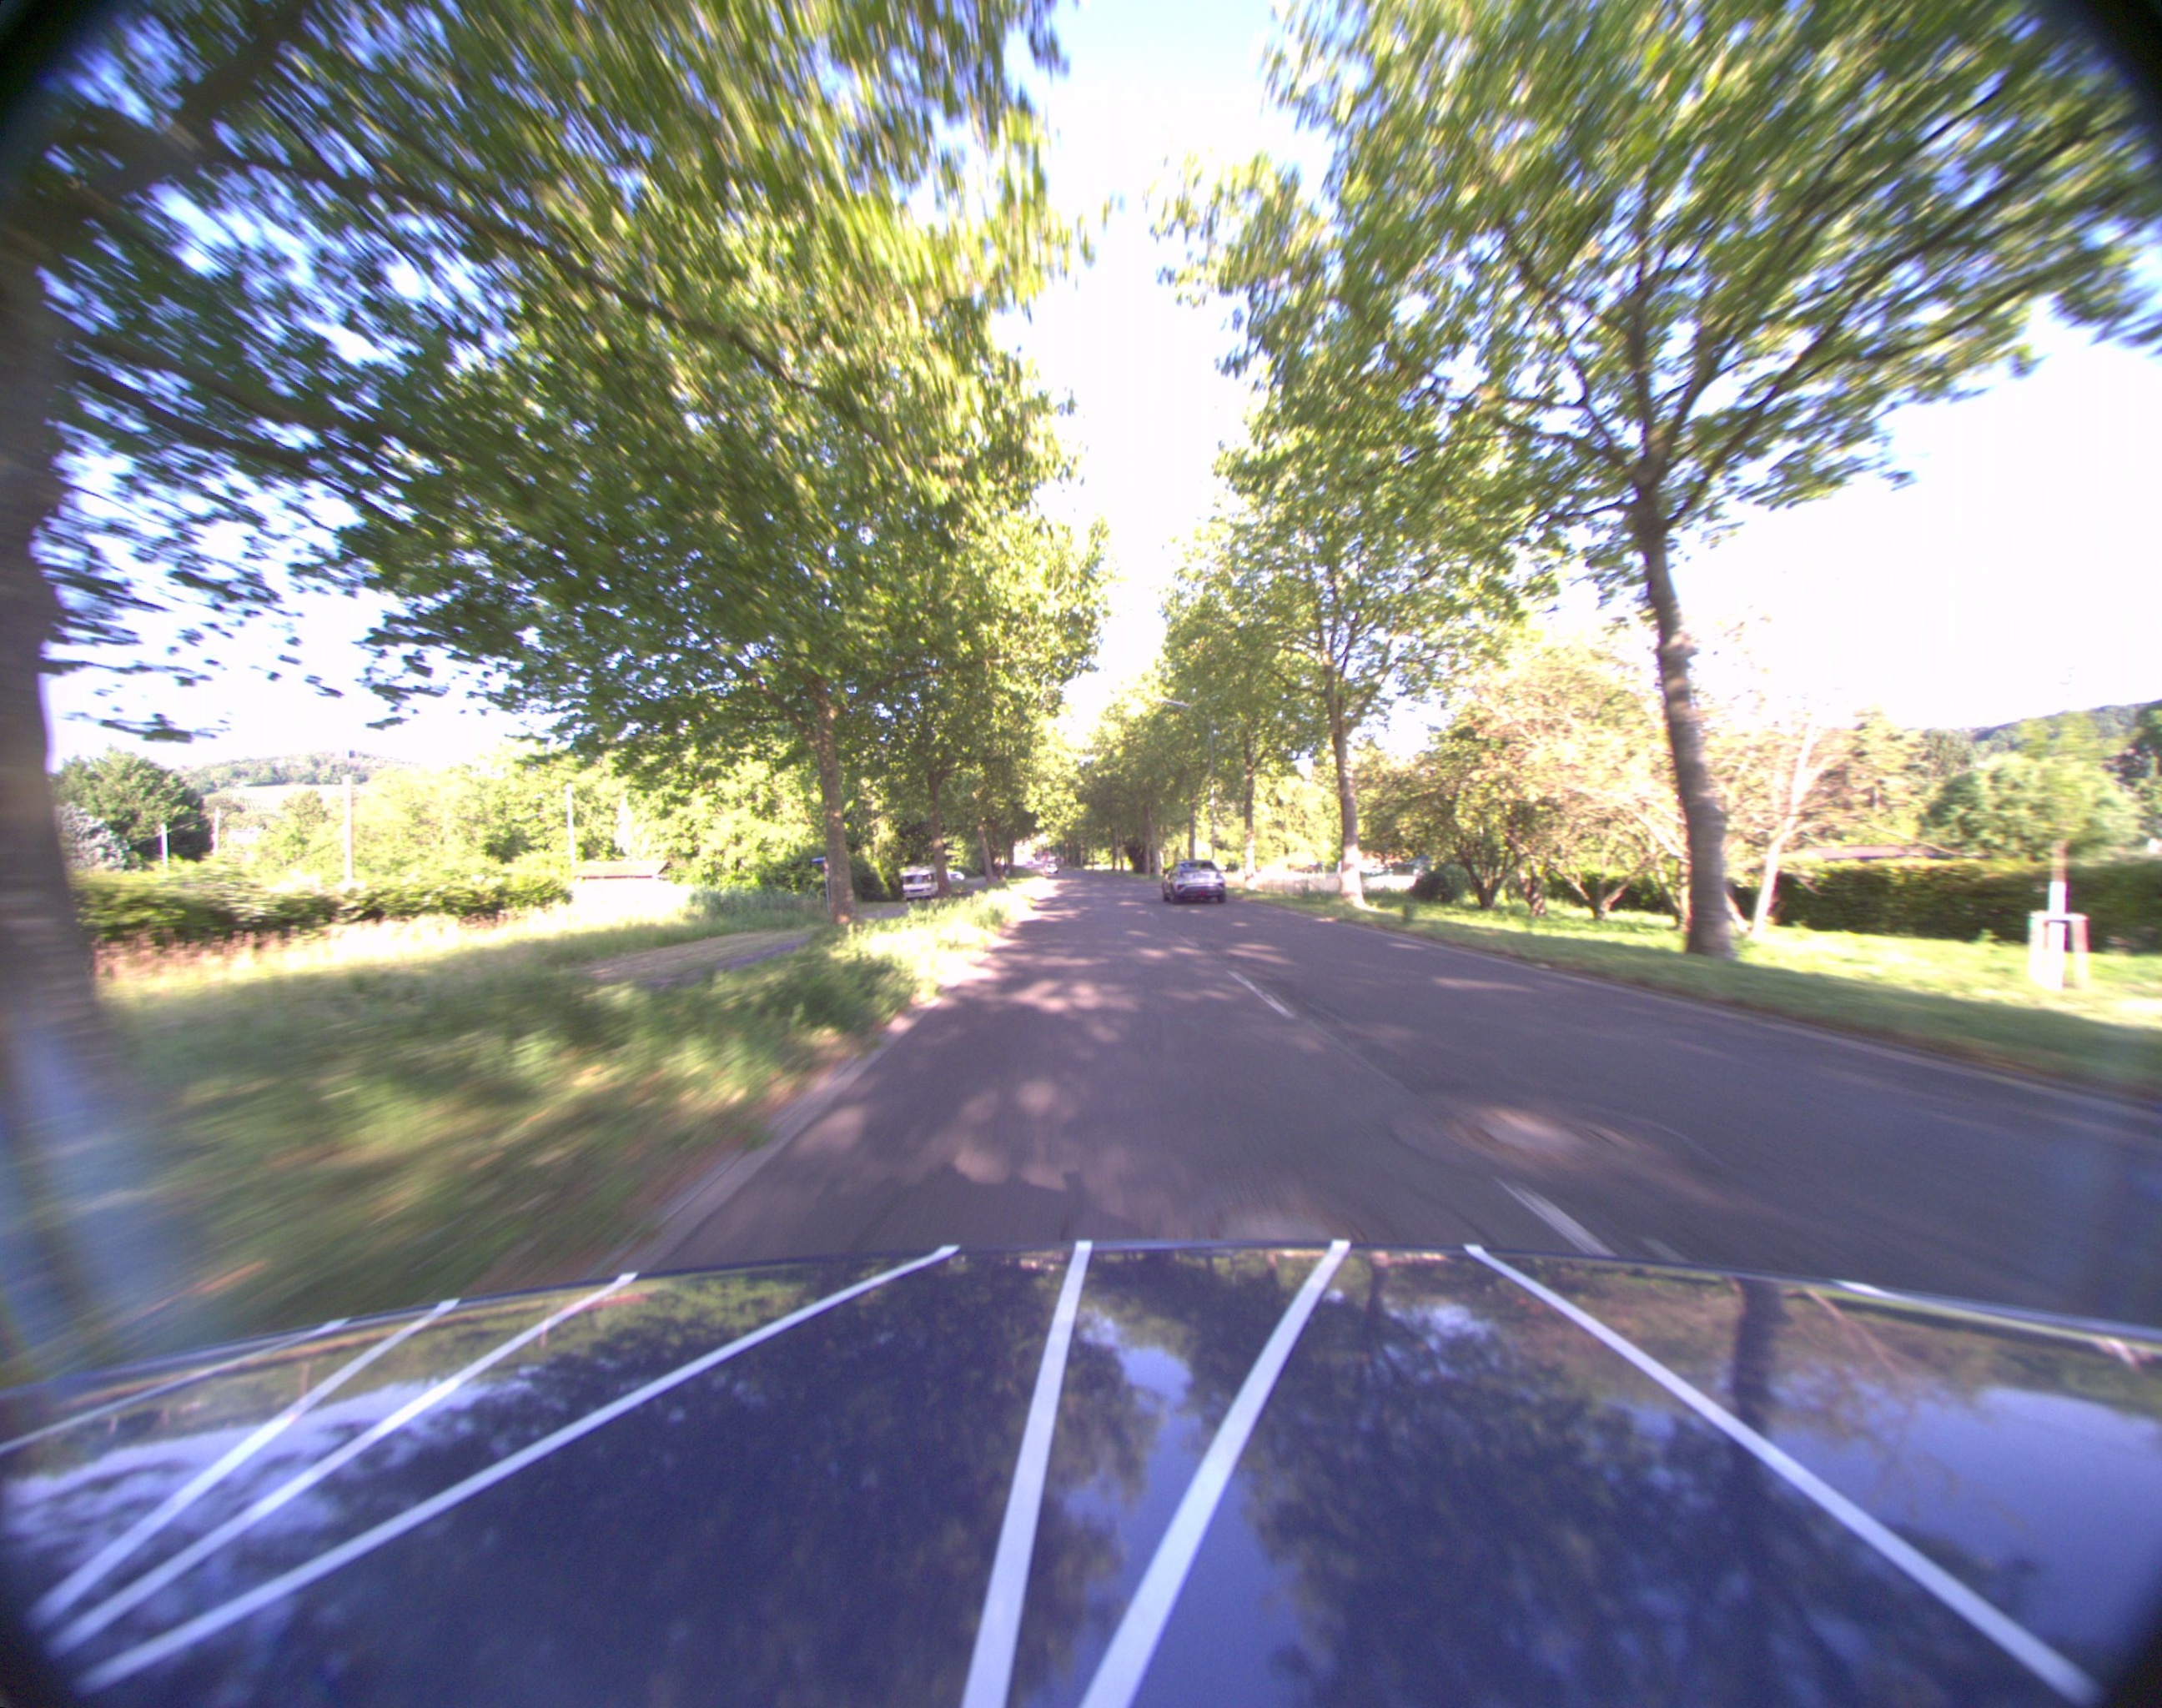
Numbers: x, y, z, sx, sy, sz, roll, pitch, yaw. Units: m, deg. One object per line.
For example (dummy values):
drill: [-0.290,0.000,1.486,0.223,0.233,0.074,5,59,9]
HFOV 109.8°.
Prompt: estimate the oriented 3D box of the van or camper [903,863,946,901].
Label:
van or camper: [-12.709,2.239,62.056,2.387,2.783,5.684,-2,0,-2]

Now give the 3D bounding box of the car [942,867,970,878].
car: [-19.583,2.895,119.327,3.996,1.378,2.001,-2,0,4]

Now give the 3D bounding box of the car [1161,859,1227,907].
car: [3.925,0.960,26.952,1.720,1.496,4.000,-2,0,0]

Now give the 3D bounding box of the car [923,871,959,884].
car: [-19.716,3.314,107.285,4.511,1.660,2.000,-2,0,4]

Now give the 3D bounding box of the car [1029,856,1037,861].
car: [-13.540,1.312,214.258,1.869,1.421,4.000,-3,-1,-1]

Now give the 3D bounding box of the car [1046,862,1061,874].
car: [-4.058,2.019,111.674,1.999,1.655,3.999,-2,0,-2]
